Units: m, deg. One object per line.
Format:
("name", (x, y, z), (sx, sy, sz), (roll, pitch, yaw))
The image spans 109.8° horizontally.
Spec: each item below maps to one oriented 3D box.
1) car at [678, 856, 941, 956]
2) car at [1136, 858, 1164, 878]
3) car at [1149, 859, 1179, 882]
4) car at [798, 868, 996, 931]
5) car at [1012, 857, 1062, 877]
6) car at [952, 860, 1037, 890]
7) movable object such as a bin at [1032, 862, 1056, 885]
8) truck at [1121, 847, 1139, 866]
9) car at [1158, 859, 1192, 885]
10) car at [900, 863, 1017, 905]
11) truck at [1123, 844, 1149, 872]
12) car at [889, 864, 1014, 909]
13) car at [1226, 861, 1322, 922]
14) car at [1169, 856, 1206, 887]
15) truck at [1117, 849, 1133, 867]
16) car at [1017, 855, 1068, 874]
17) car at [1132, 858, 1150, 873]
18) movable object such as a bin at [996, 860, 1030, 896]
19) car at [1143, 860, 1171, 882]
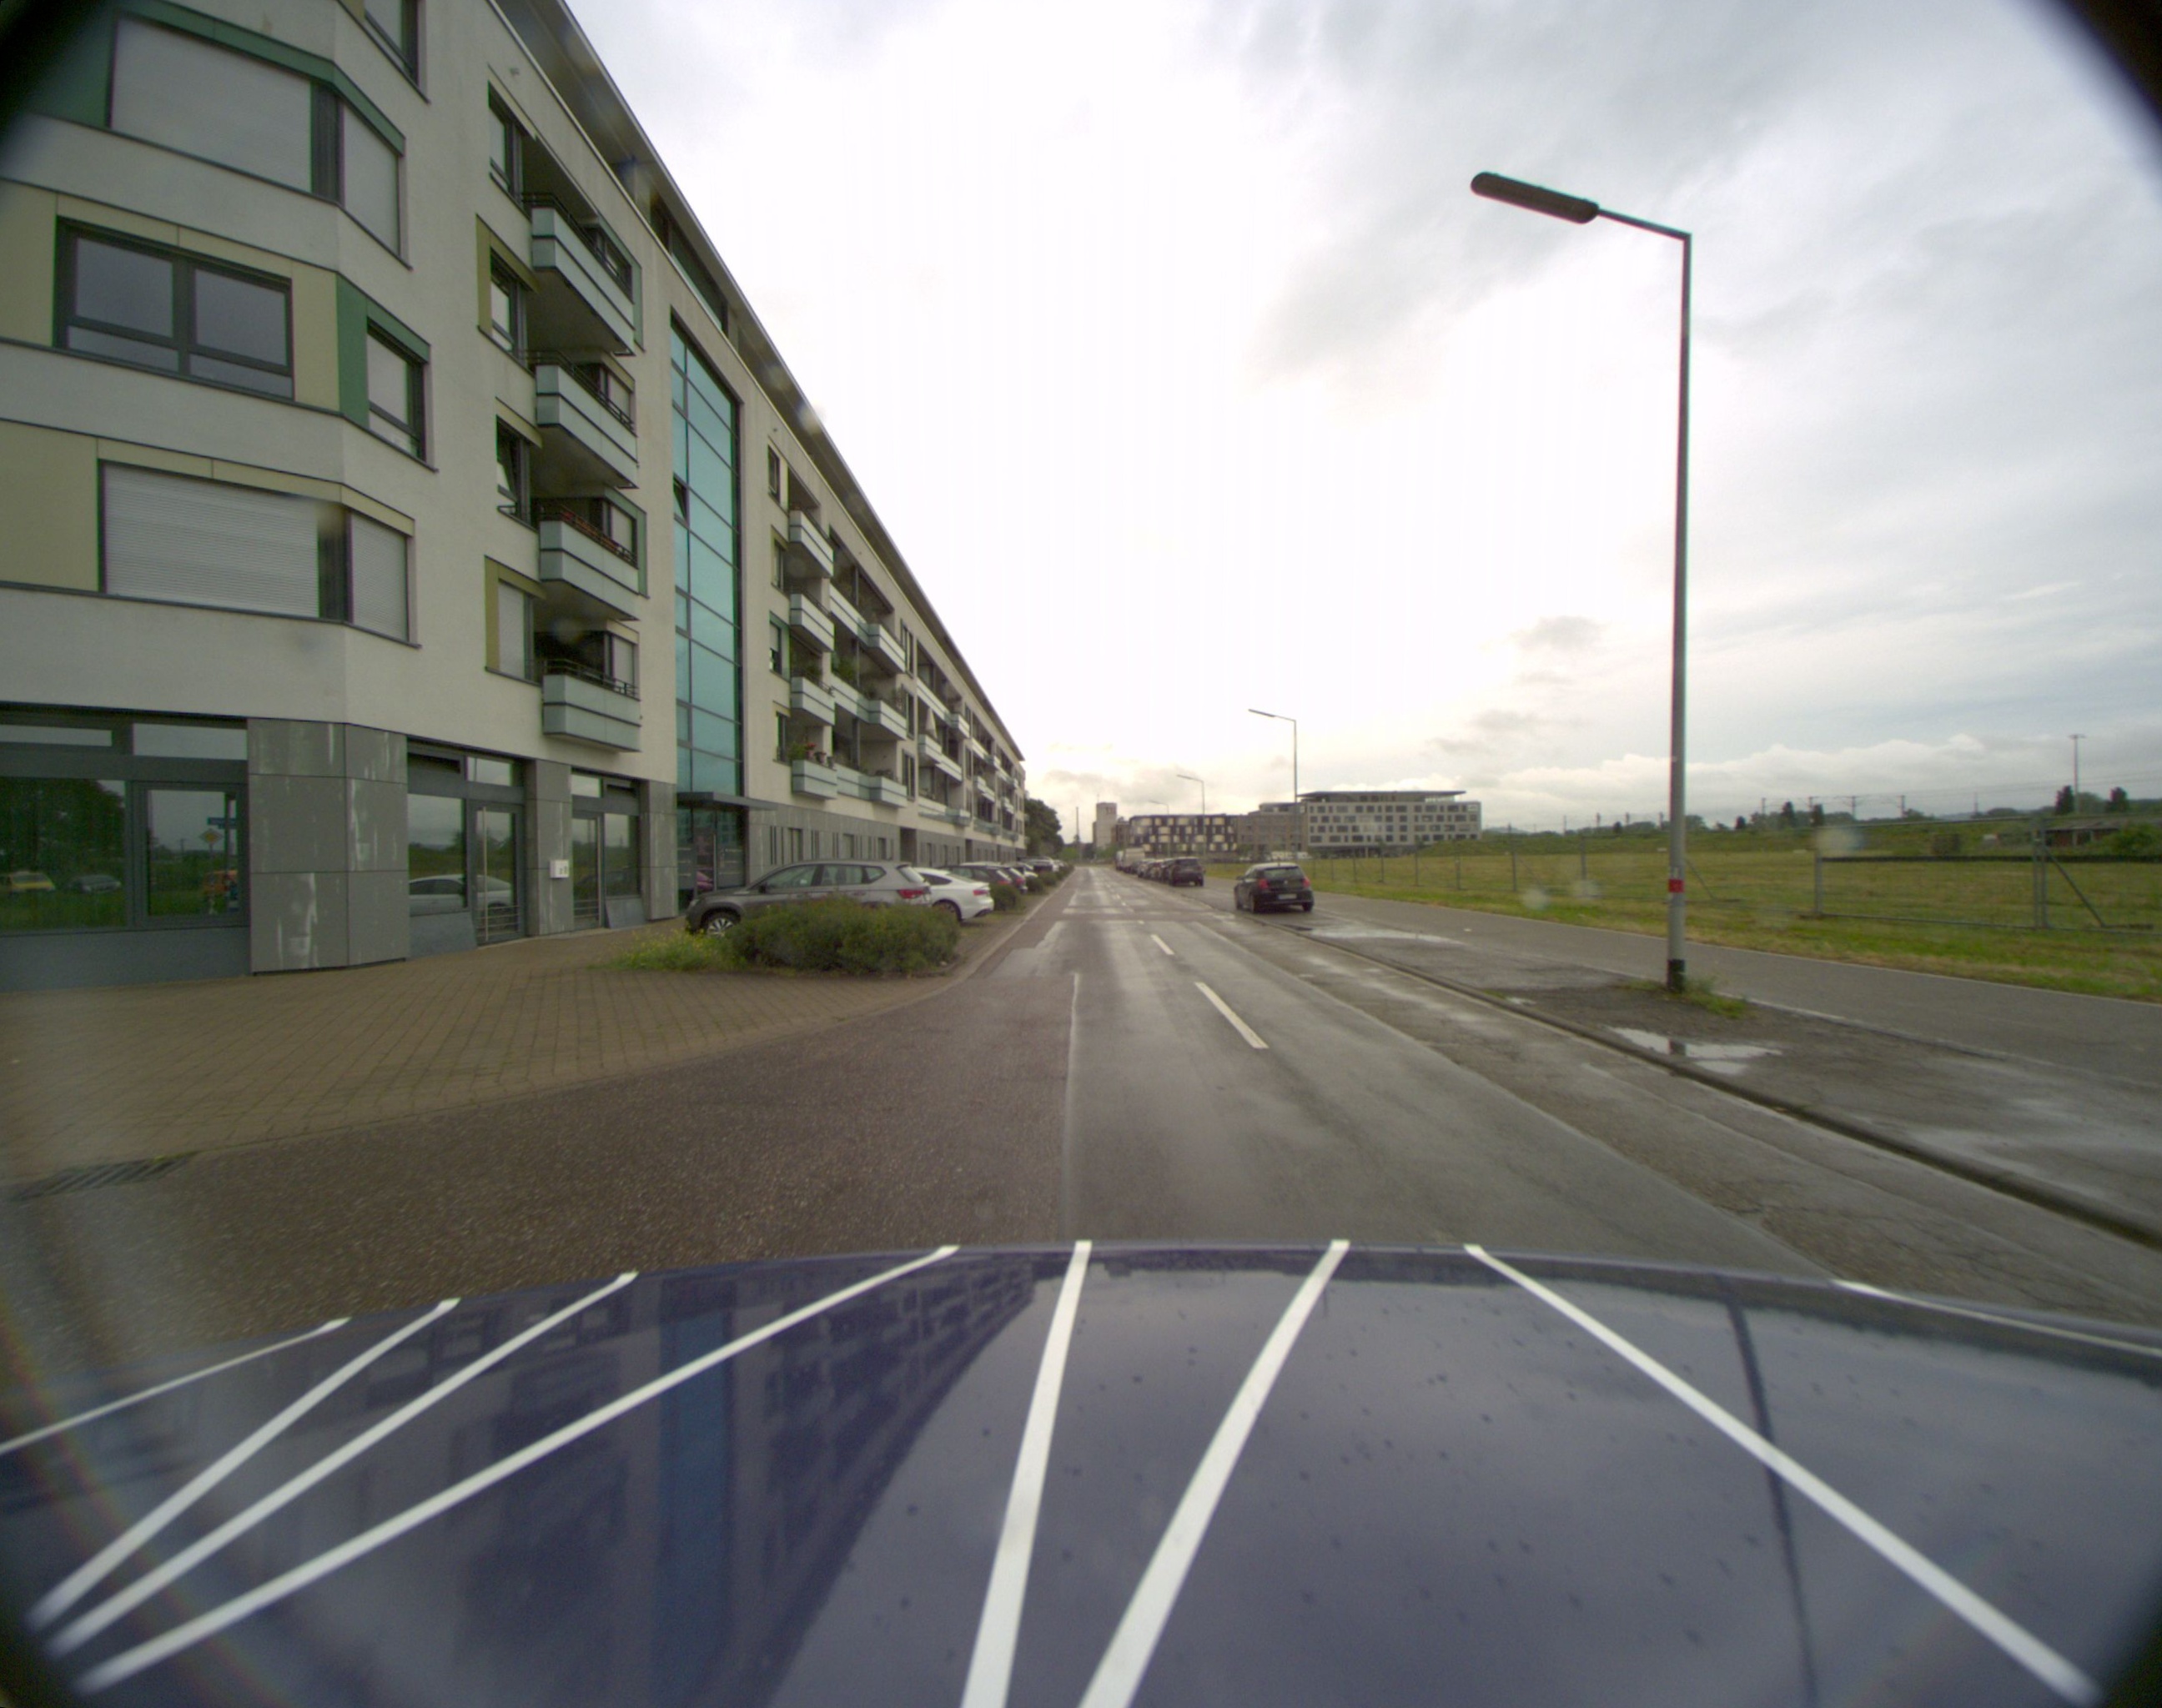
("car", (-4.802, 0.891, 13.939), (4.100, 1.614, 1.966), (1, 0, -1))
("car", (6.128, 1.190, 68.038), (1.857, 1.598, 4.989), (-4, 0, 0))
("car", (6.131, 1.187, 56.431), (1.730, 1.566, 4.210), (-1, 0, -1))
("car", (-4.438, 1.087, 18.836), (4.420, 1.397, 1.910), (1, 0, 0))
("car", (-3.818, 1.113, 66.080), (4.218, 1.634, 1.686), (0, 1, 0))
("car", (-4.667, 1.110, 41.314), (4.357, 1.521, 1.893), (1, 0, 0))
("movable object such as a bin", (-2.433, 1.268, 50.444), (1.499, 1.484, 1.156), (2, 0, 1))
("truck", (7.009, 0.380, 109.370), (2.180, 2.591, 6.132), (-1, 0, 1))
("car", (6.183, 1.146, 50.294), (1.757, 1.581, 4.133), (-1, 0, 1))
("car", (-4.546, 1.093, 28.691), (4.070, 1.488, 2.058), (0, 0, 1))
("truck", (6.361, 0.476, 89.171), (2.442, 3.050, 6.700), (-2, 0, 0))
("car", (-4.420, 1.106, 26.337), (3.997, 1.470, 1.879), (0, 0, 0))
("car", (5.751, 1.067, 23.148), (1.852, 1.552, 4.152), (-4, 0, 1))
("car", (6.240, 0.989, 44.822), (1.756, 1.683, 4.882), (-1, 0, 3))
("truck", (6.717, 0.612, 116.487), (2.180, 2.730, 5.290), (-1, 0, 1))
("car", (-3.955, 1.068, 78.825), (5.062, 1.917, 1.982), (1, 0, 0))
("car", (6.390, 1.214, 81.247), (1.676, 1.454, 4.157), (-1, 0, 1))
("movable object such as a bin", (-3.074, 1.066, 34.451), (1.303, 1.517, 1.582), (-2, 0, 1))
("car", (6.098, 1.345, 61.402), (1.842, 1.519, 4.670), (-3, 0, 1))
